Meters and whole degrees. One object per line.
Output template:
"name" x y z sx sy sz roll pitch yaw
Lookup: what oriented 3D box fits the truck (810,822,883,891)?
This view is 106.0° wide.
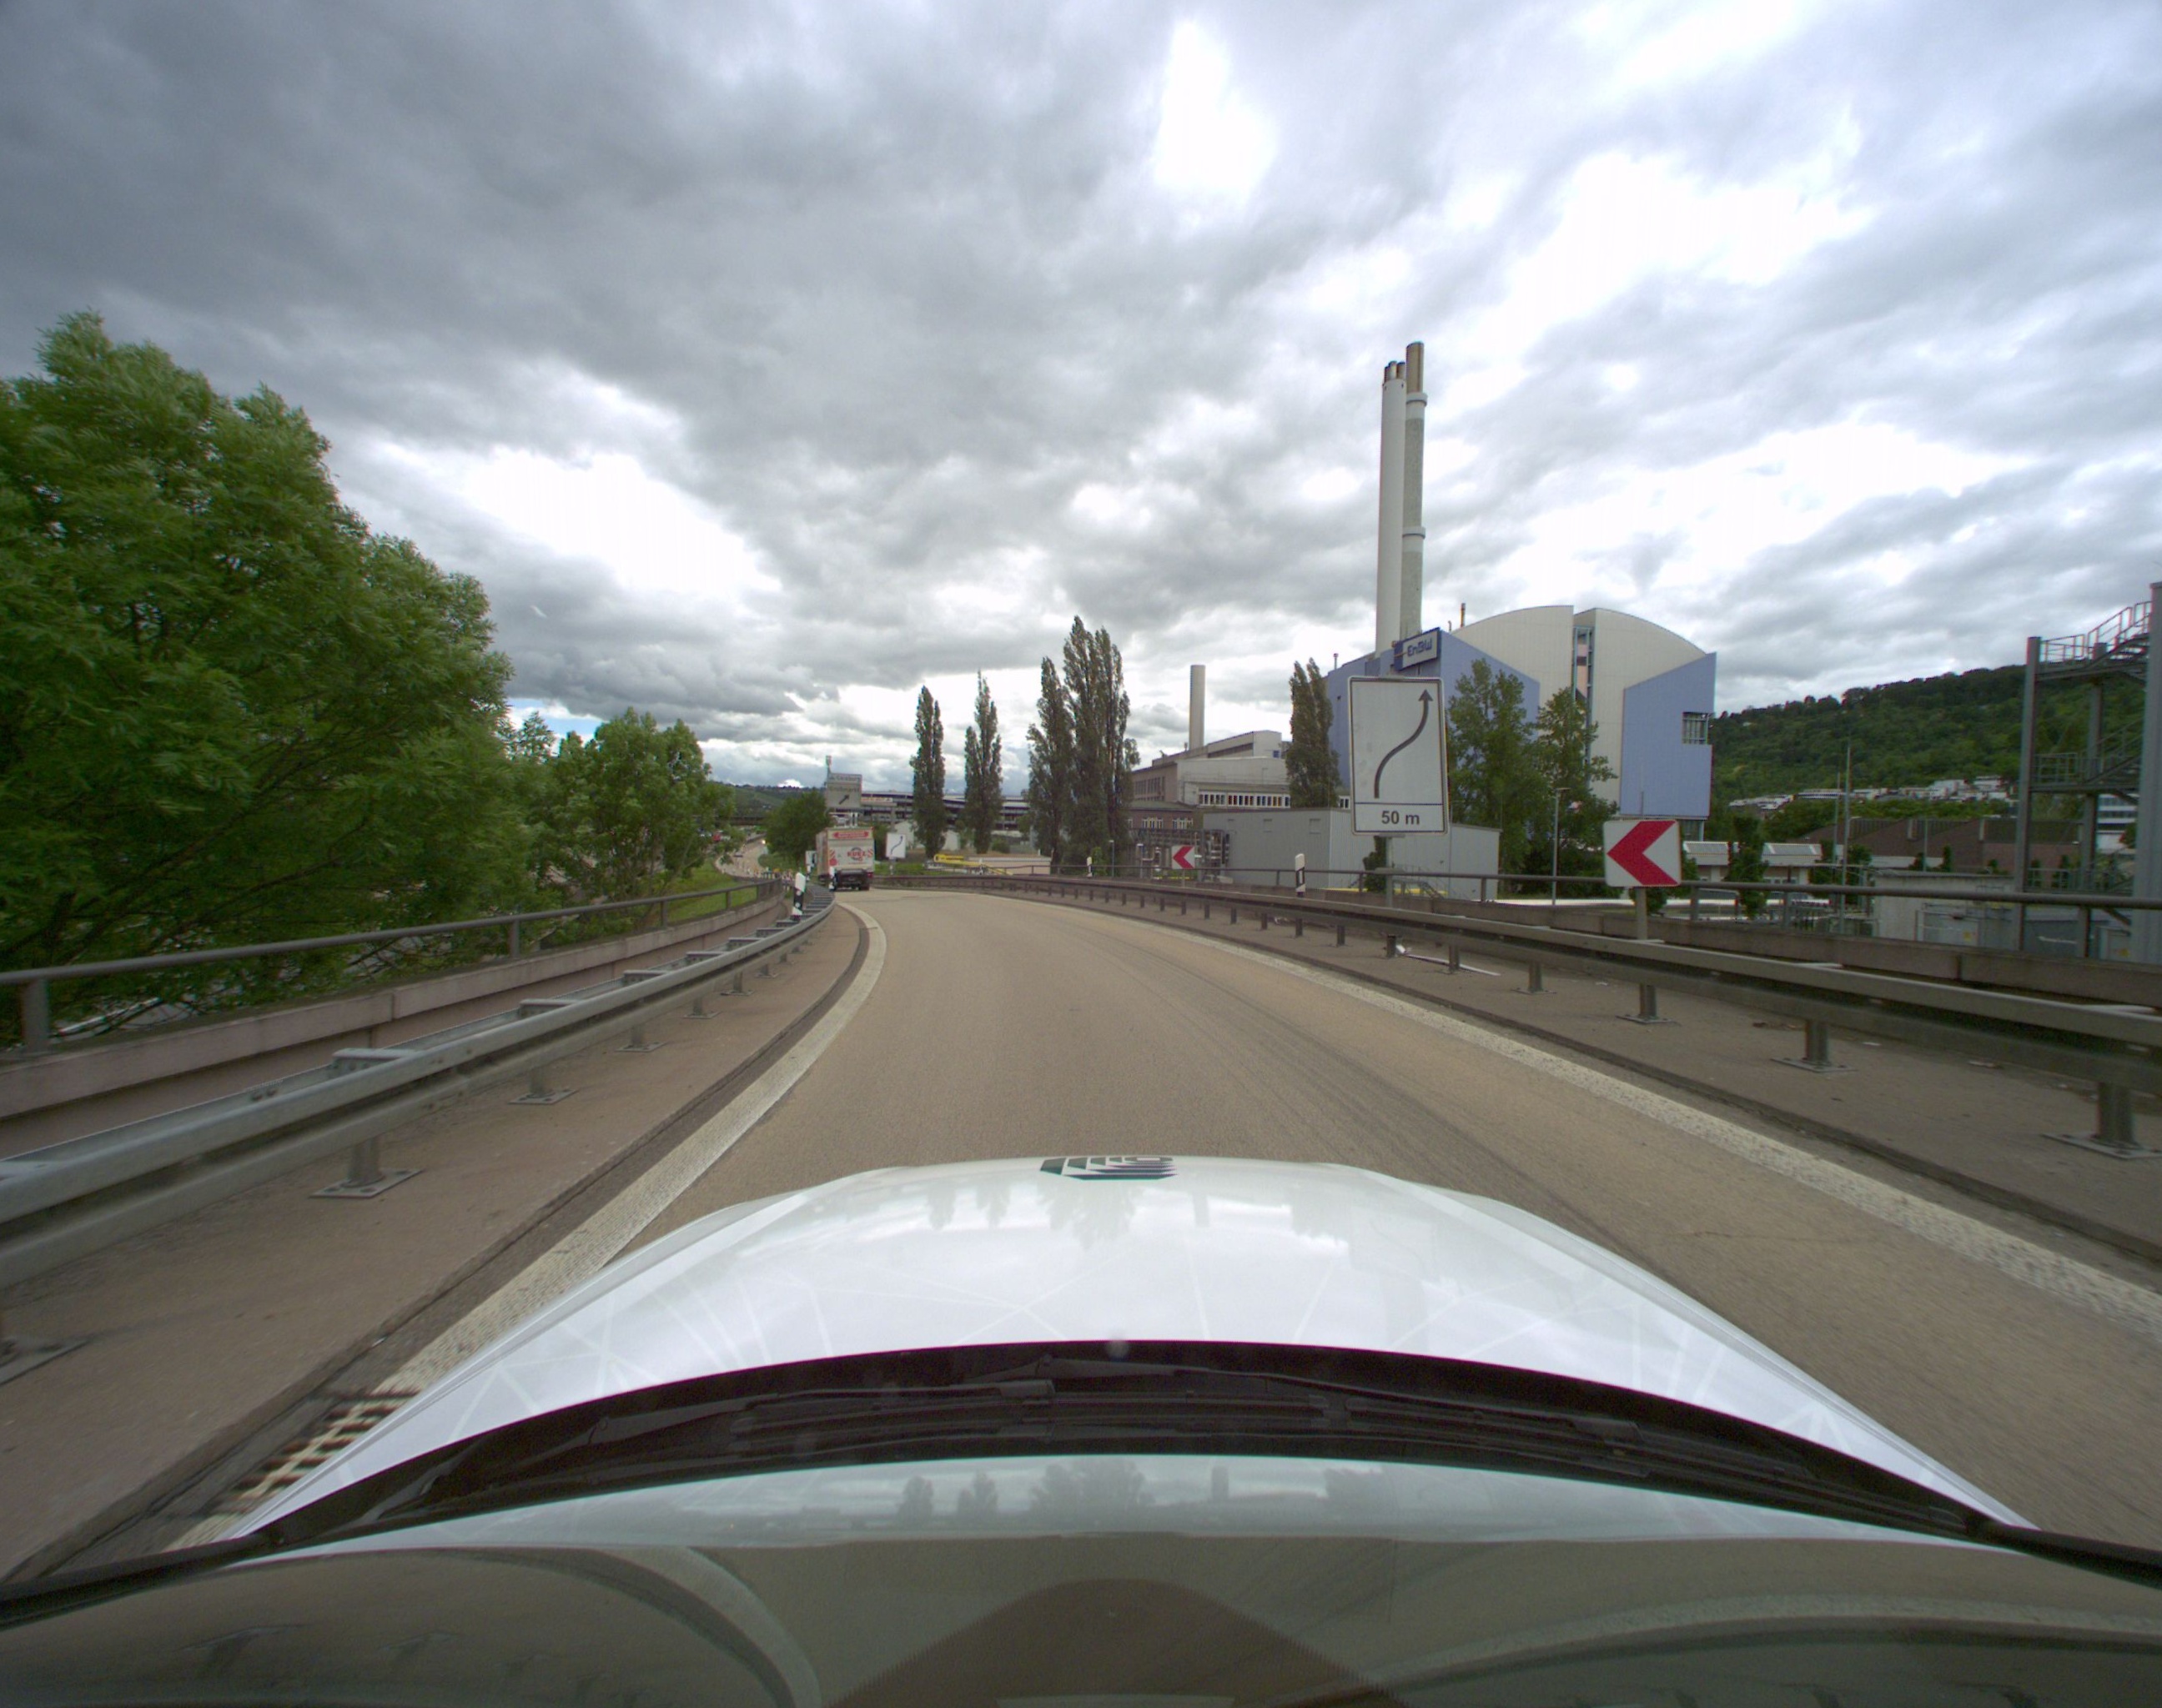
"truck" -13.902 0.151 47.850 3.064 3.673 7.865 1 0 -23
